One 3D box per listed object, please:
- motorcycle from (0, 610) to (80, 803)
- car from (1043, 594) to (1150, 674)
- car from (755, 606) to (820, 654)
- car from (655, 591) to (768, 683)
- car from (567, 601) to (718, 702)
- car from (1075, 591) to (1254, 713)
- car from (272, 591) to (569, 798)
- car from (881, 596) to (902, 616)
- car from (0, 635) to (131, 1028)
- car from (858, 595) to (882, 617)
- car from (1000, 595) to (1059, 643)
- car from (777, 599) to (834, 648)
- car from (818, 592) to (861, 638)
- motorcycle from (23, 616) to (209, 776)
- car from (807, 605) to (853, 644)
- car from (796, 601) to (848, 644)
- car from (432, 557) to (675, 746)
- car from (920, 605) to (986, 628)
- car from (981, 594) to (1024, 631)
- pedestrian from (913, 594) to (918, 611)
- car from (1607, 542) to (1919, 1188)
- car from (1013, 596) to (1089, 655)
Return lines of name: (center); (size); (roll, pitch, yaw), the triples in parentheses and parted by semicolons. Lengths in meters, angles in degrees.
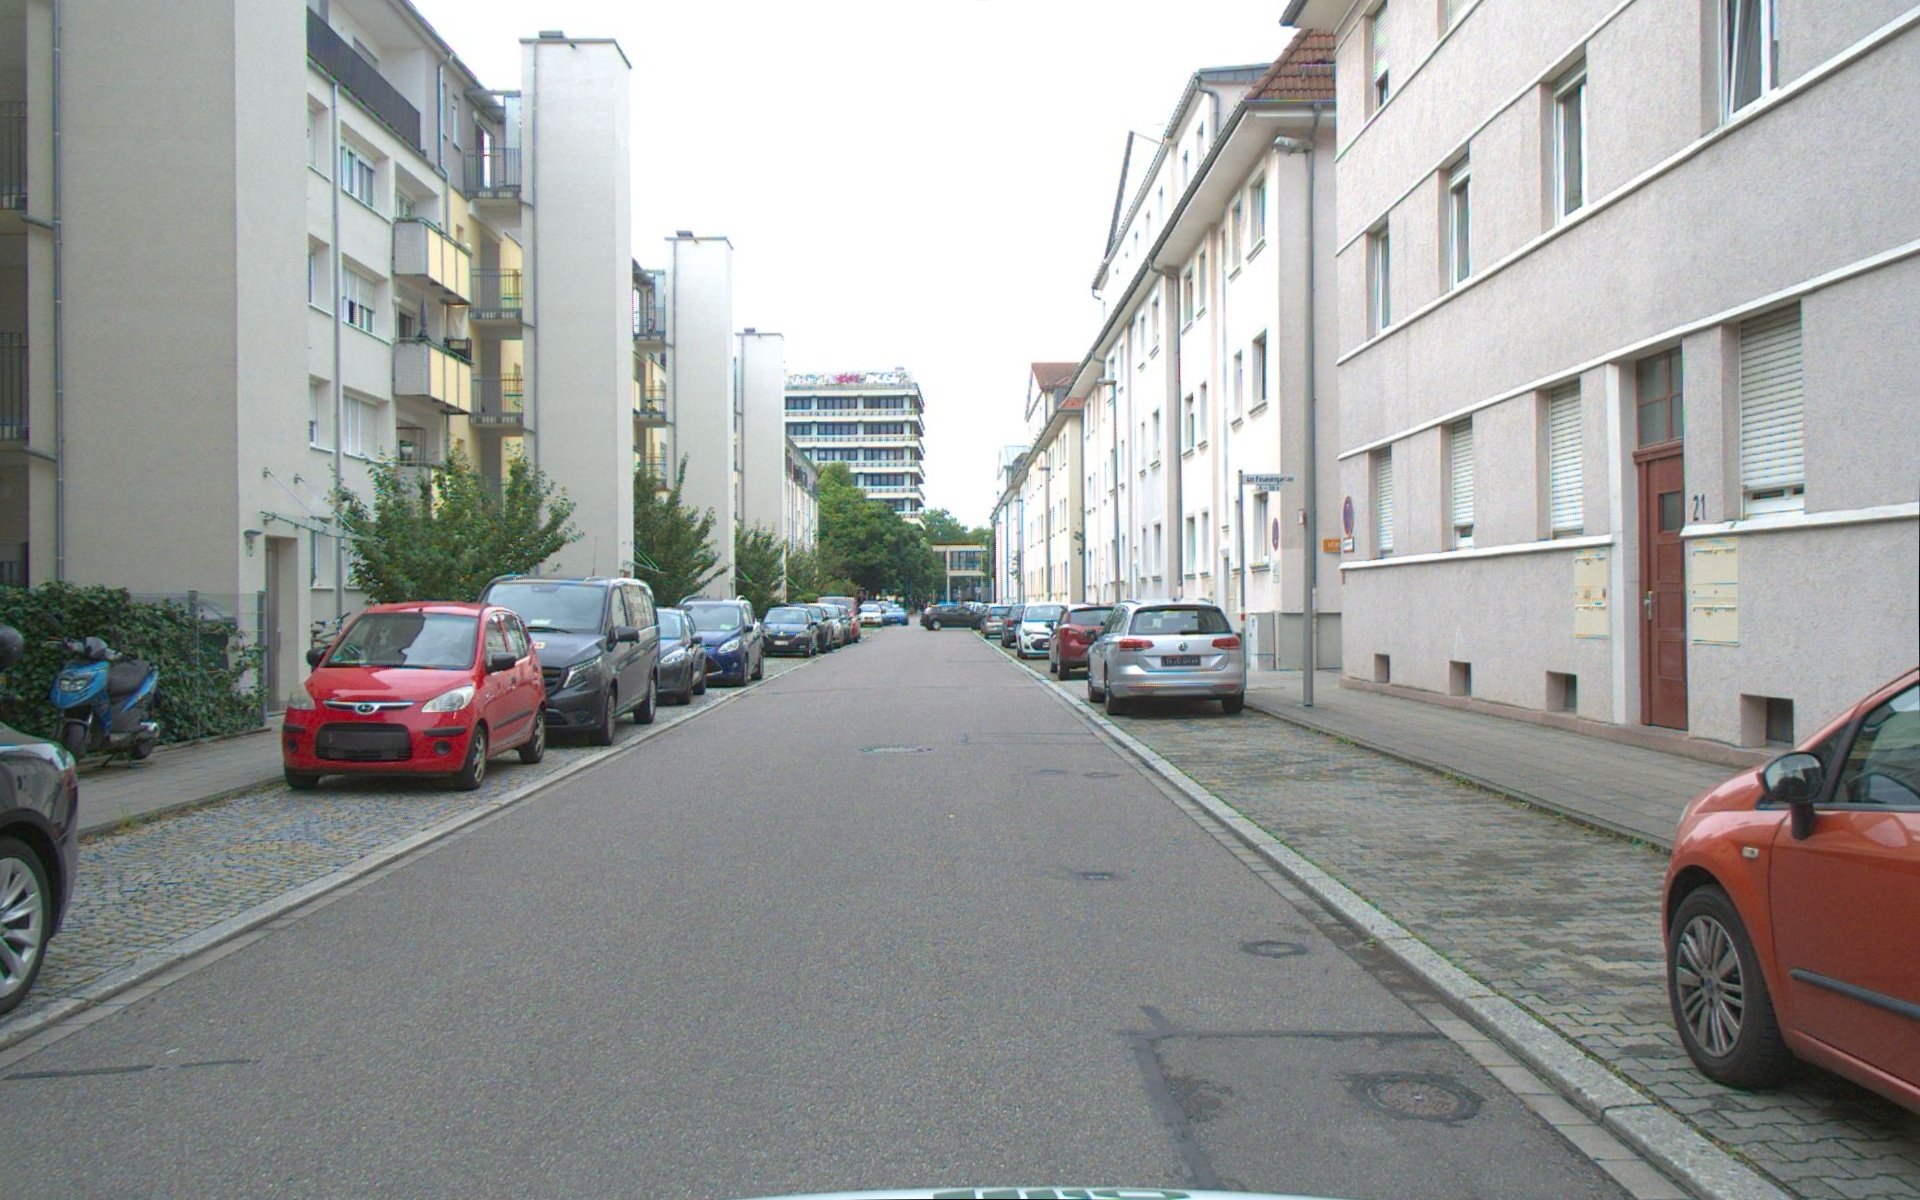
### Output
motorcycle: (-7.322, 0.781, 11.999); (0.663, 1.379, 2.229); (2, 0, -1)
car: (2.670, 0.638, 33.126); (1.636, 1.445, 3.998); (-2, 0, -2)
car: (-5.208, 0.871, 50.264); (1.637, 1.375, 3.815); (0, 0, -1)
car: (-4.814, 0.671, 32.495); (1.734, 1.672, 4.352); (0, 0, -3)
car: (-5.061, 0.773, 26.874); (1.794, 1.484, 4.257); (0, 0, -3)
car: (2.687, 0.637, 22.695); (1.720, 1.493, 4.598); (0, 0, -2)
car: (-4.734, 0.751, 15.021); (1.532, 1.596, 3.641); (2, 0, -2)
car: (-5.176, 0.435, 123.905); (1.508, 1.476, 3.739); (0, 0, -4)
car: (-4.483, 0.866, 4.820); (1.804, 1.446, 4.628); (2, 0, -1)
car: (-6.143, 0.420, 113.204); (1.507, 1.476, 3.741); (0, 0, -1)
car: (2.354, 0.628, 56.835); (1.782, 1.604, 3.751); (0, 0, -1)
car: (-5.191, 0.769, 55.885); (1.637, 1.591, 3.663); (0, 0, -1)
car: (-5.245, 0.639, 72.367); (1.637, 1.972, 3.741); (0, 0, -1)
motorcycle: (-7.285, 0.790, 14.379); (0.623, 1.252, 1.833); (4, 0, -1)
car: (-5.250, 0.974, 67.260); (1.637, 1.513, 3.741); (0, 0, -1)
car: (-5.159, 0.815, 62.110); (1.637, 1.552, 4.252); (0, 0, -1)
car: (-4.736, 0.543, 20.031); (1.841, 1.937, 5.028); (2, 0, -3)
car: (-0.384, 0.908, 92.951); (3.652, 1.235, 1.544); (0, 0, 0)
car: (1.864, 0.557, 73.849); (1.782, 1.604, 3.883); (0, 0, -1)
pedestrian: (-5.318, 0.320, 197.675); (0.617, 2.049, 0.683); (2, 0, -2)
car: (3.121, 0.616, 3.853); (1.662, 1.552, 3.825); (-1, 0, -1)
car: (2.432, 0.660, 44.881); (1.782, 1.531, 3.751); (0, 0, -1)
